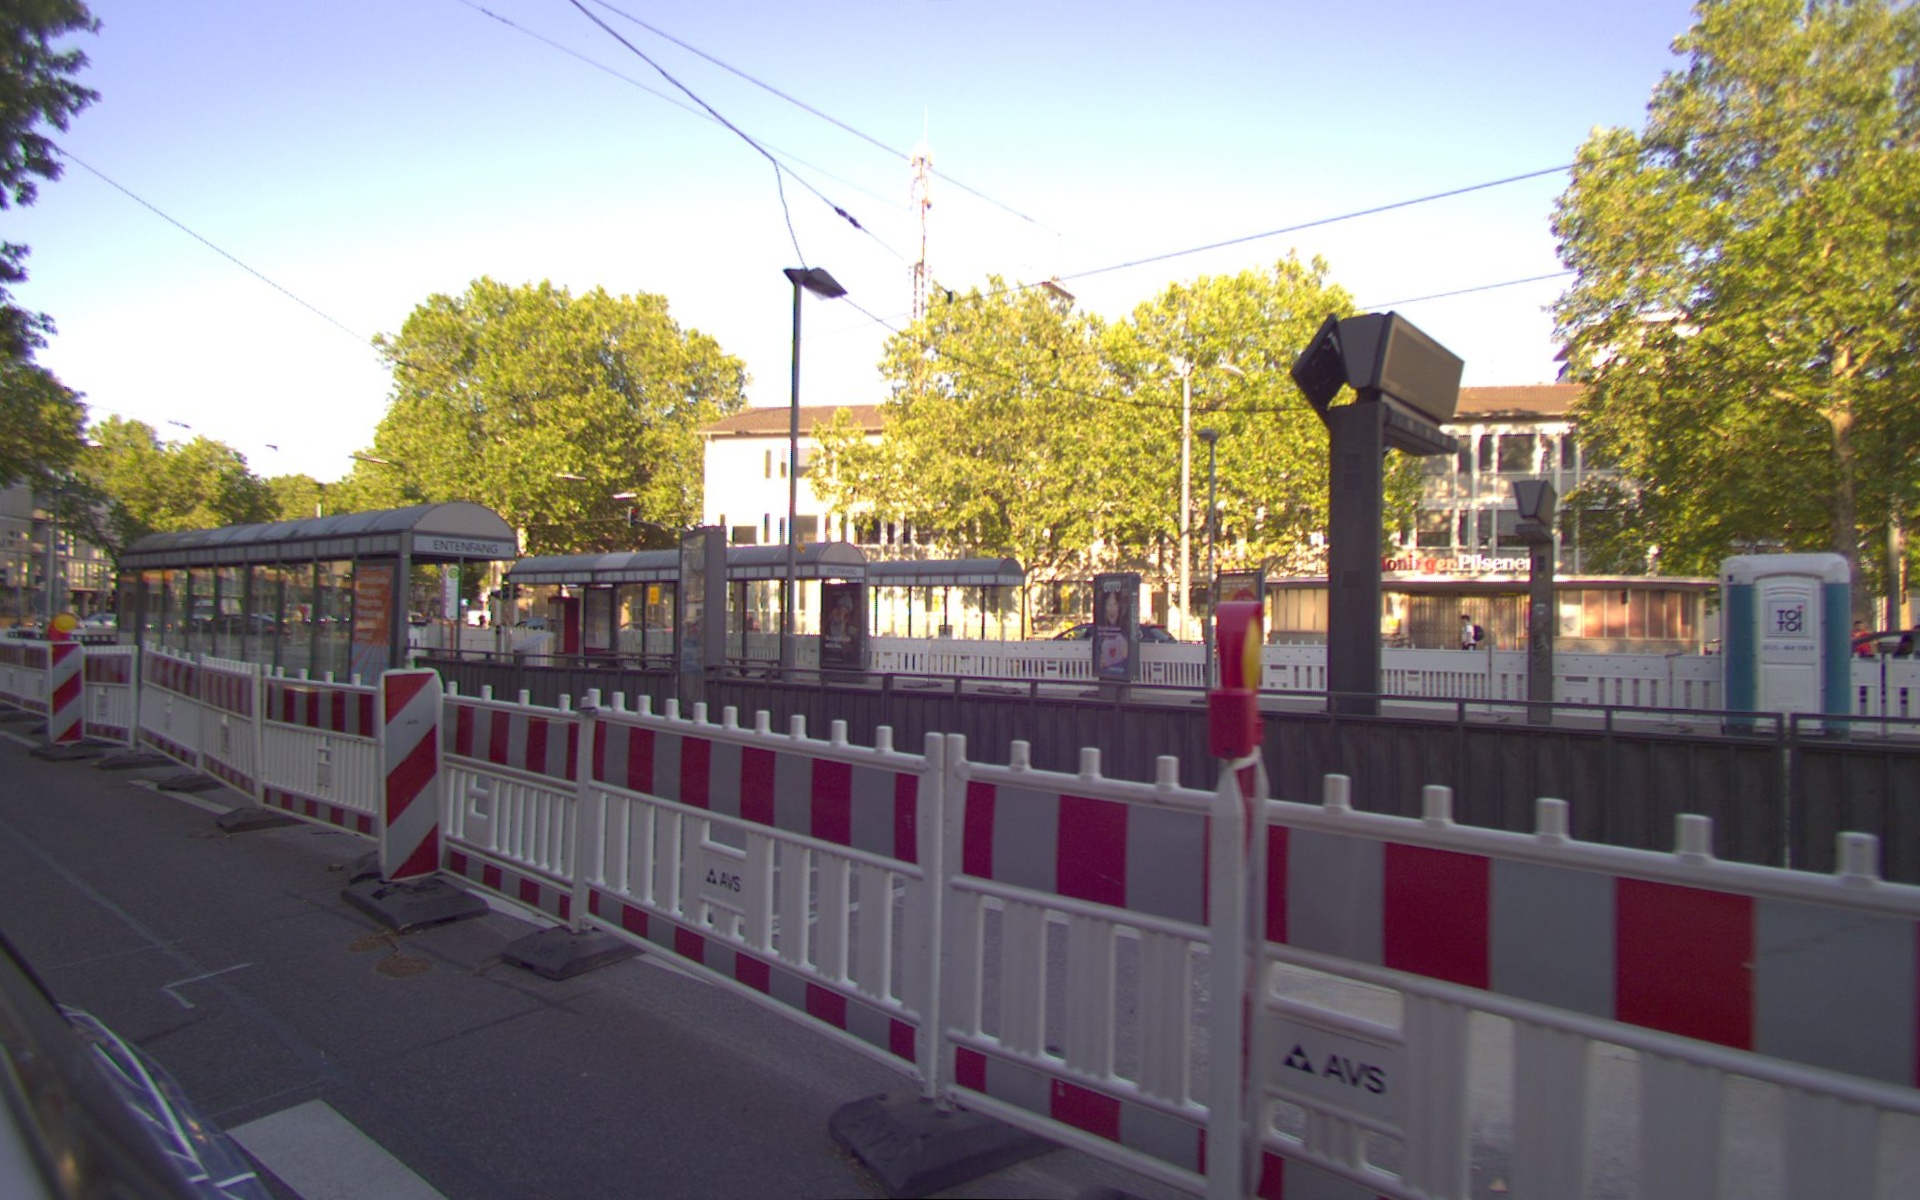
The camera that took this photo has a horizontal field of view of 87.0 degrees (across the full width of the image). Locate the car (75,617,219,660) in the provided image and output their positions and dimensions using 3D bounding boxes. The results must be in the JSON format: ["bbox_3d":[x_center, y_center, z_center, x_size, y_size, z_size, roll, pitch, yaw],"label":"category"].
[{"bbox_3d":[-35.152,1.702,43.887,4.364,1.660,2.005,3,-4,-13],"label":"car"}]

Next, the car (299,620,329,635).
[{"bbox_3d":[-68.849,2.925,107.883,1.677,1.599,3.717,1,-1,-16],"label":"car"}]

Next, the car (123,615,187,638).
[{"bbox_3d":[-59.048,1.941,74.318,1.966,1.608,4.573,1,-2,-14],"label":"car"}]

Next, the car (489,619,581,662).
[{"bbox_3d":[-19.023,1.777,45.226,3.991,1.829,1.976,-1,-2,35],"label":"car"}]

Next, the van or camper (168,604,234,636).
[{"bbox_3d":[-62.567,1.641,83.540,2.254,2.558,5.509,0,-1,-13],"label":"van or camper"}]

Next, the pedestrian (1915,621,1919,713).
[{"bbox_3d":[21.834,1.480,22.449,0.884,2.029,0.875,-1,-2,43],"label":"pedestrian"}]

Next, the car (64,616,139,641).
[{"bbox_3d":[-56.732,1.847,66.968,1.966,1.608,4.574,1,-1,-14],"label":"car"}]

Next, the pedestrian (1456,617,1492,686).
[{"bbox_3d":[15.401,1.530,30.303,0.884,2.029,0.874,-1,-2,32],"label":"pedestrian"}]

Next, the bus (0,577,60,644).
[{"bbox_3d":[-50.406,0.644,53.086,2.693,3.231,12.397,-1,-1,-32],"label":"bus"}]

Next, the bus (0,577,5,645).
[{"bbox_3d":[-44.111,0.430,43.309,2.694,3.231,12.339,-1,-1,-34],"label":"bus"}]

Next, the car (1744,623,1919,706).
[{"bbox_3d":[18.428,1.263,20.507,3.964,1.578,1.788,-1,-2,38],"label":"car"}]

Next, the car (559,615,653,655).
[{"bbox_3d":[-14.728,1.432,42.114,3.362,1.586,1.673,0,-2,17],"label":"car"}]
